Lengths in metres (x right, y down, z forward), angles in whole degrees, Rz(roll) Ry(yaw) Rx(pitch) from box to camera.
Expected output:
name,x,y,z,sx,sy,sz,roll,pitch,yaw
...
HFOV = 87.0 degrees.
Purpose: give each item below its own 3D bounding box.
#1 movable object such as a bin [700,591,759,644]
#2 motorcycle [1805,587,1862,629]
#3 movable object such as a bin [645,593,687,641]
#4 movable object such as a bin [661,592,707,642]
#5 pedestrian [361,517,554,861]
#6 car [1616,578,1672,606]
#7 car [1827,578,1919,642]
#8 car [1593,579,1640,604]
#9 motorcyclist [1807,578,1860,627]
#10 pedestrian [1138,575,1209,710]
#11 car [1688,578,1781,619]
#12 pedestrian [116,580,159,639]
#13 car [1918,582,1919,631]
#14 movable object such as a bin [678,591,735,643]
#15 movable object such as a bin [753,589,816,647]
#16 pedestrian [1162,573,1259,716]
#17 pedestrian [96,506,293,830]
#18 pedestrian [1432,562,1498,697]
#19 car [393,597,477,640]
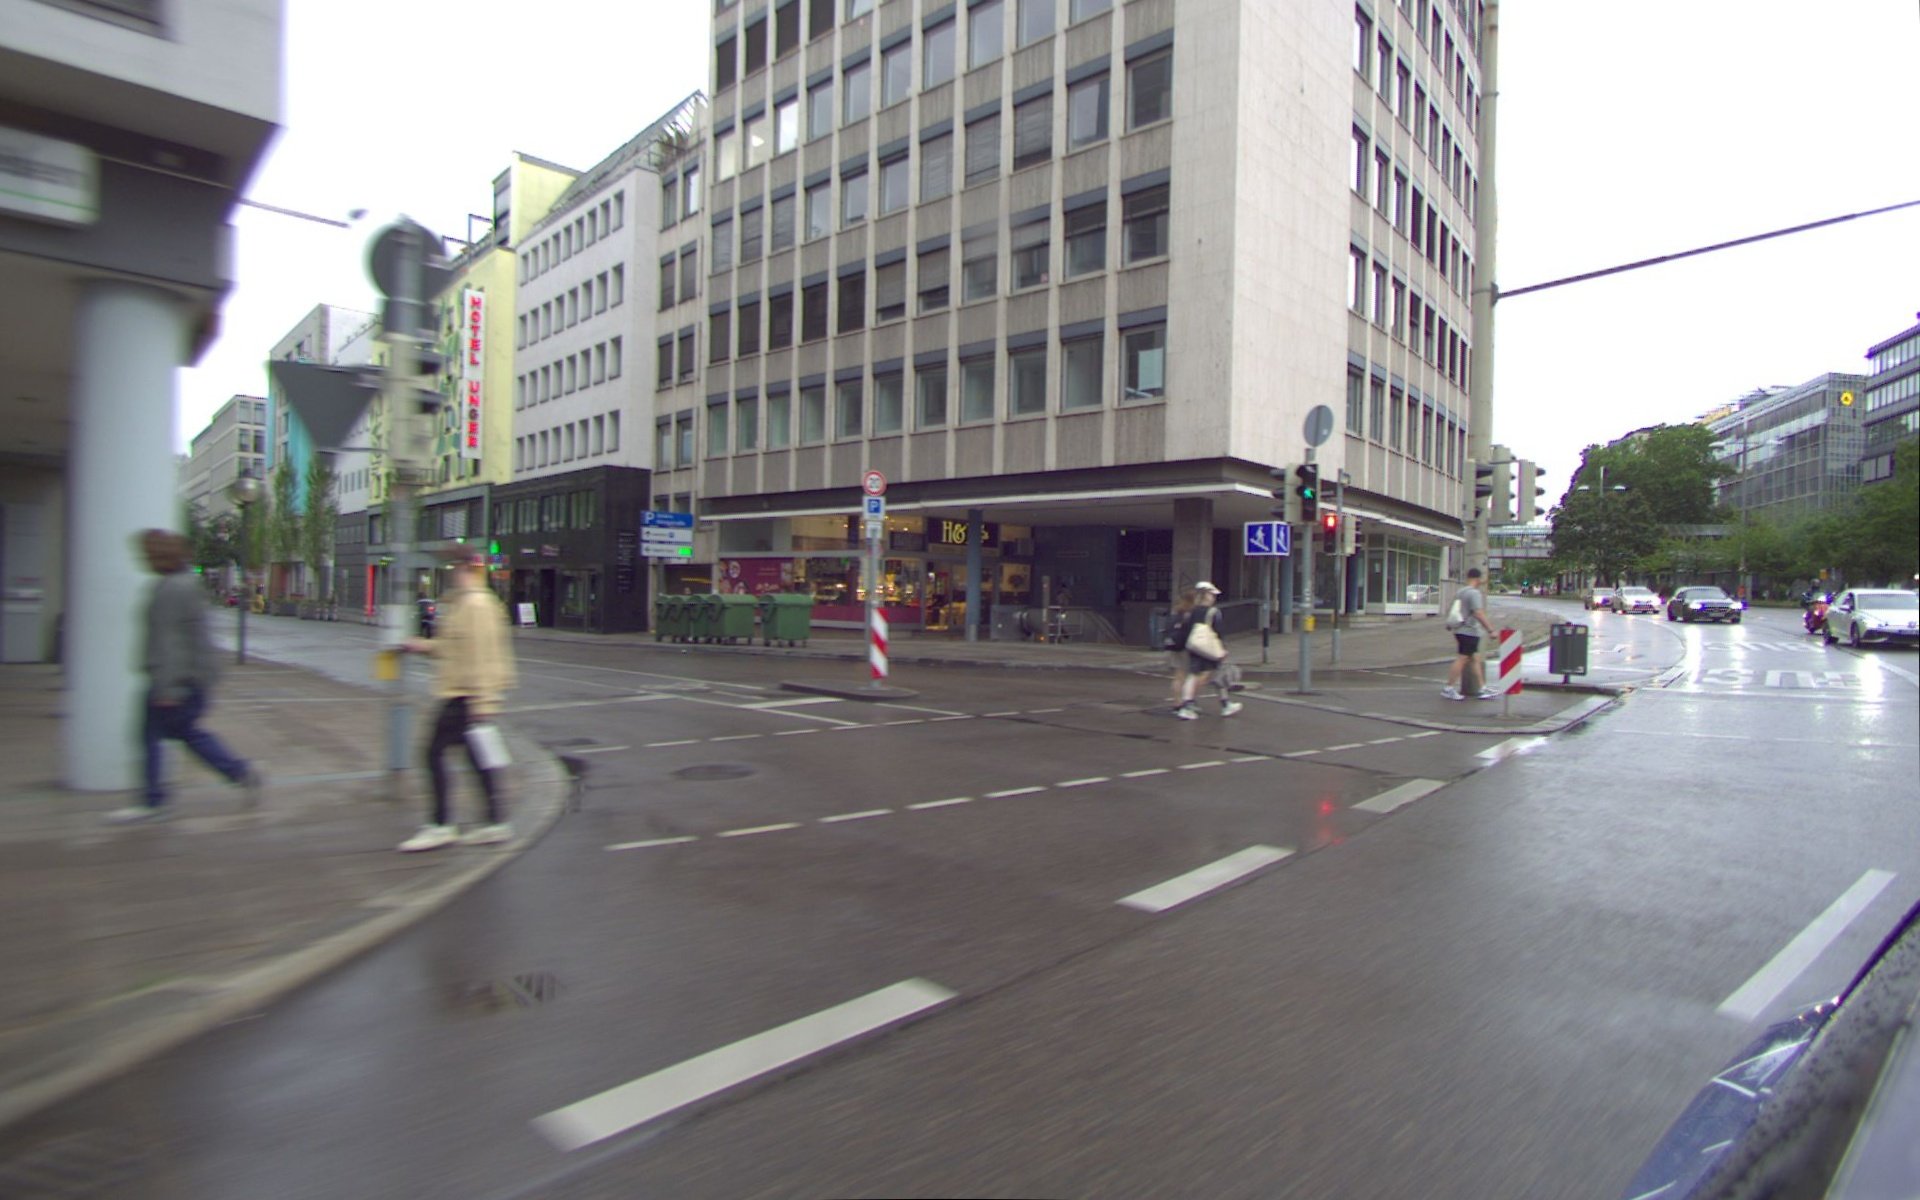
name,x,y,z,sx,sy,sz,roll,pitch,yaw
movable object such as a bin,-6.660,0.488,29.233,0.982,1.478,1.351,-1,0,40
motorcycle,27.544,0.227,31.958,1.124,1.283,3.329,-1,0,37
movable object such as a bin,-9.164,0.521,31.559,0.865,1.478,0.955,-1,0,40
movable object such as a bin,-8.319,0.507,30.545,0.983,1.478,0.948,-1,0,40
pedestrian,-2.899,0.475,5.844,0.864,1.805,0.641,2,-2,-37
car,37.969,-0.457,56.277,1.872,1.505,3.967,-1,0,24
car,23.493,0.210,25.400,1.674,1.505,3.963,-1,0,26
car,41.810,-0.542,64.522,1.872,1.505,3.967,-1,0,24
motorcyclist,27.558,0.077,31.945,1.146,1.529,1.181,-1,0,37
pedestrian,2.651,0.503,12.540,0.719,1.618,0.526,0,0,-43
car,29.934,-0.066,39.258,1.871,1.505,3.969,-1,0,23
pedestrian,-26.457,0.307,32.544,1.037,1.856,0.946,-1,0,43
car,30.078,0.220,29.961,1.741,1.536,3.725,-1,0,32
movable object such as a bin,-7.480,0.489,29.896,0.982,1.478,1.290,-1,0,40
movable object such as a bin,-4.806,0.487,27.719,1.370,1.530,0.984,-1,0,-44
pedestrian,2.980,0.501,12.019,1.041,1.618,0.652,-1,0,-43
pedestrian,-4.714,0.387,6.244,0.879,1.805,0.793,2,-2,-40
pedestrian,6.797,0.378,13.611,0.650,1.748,0.806,-1,0,37
car,-18.513,0.622,35.603,1.647,1.408,3.991,-1,0,-42
